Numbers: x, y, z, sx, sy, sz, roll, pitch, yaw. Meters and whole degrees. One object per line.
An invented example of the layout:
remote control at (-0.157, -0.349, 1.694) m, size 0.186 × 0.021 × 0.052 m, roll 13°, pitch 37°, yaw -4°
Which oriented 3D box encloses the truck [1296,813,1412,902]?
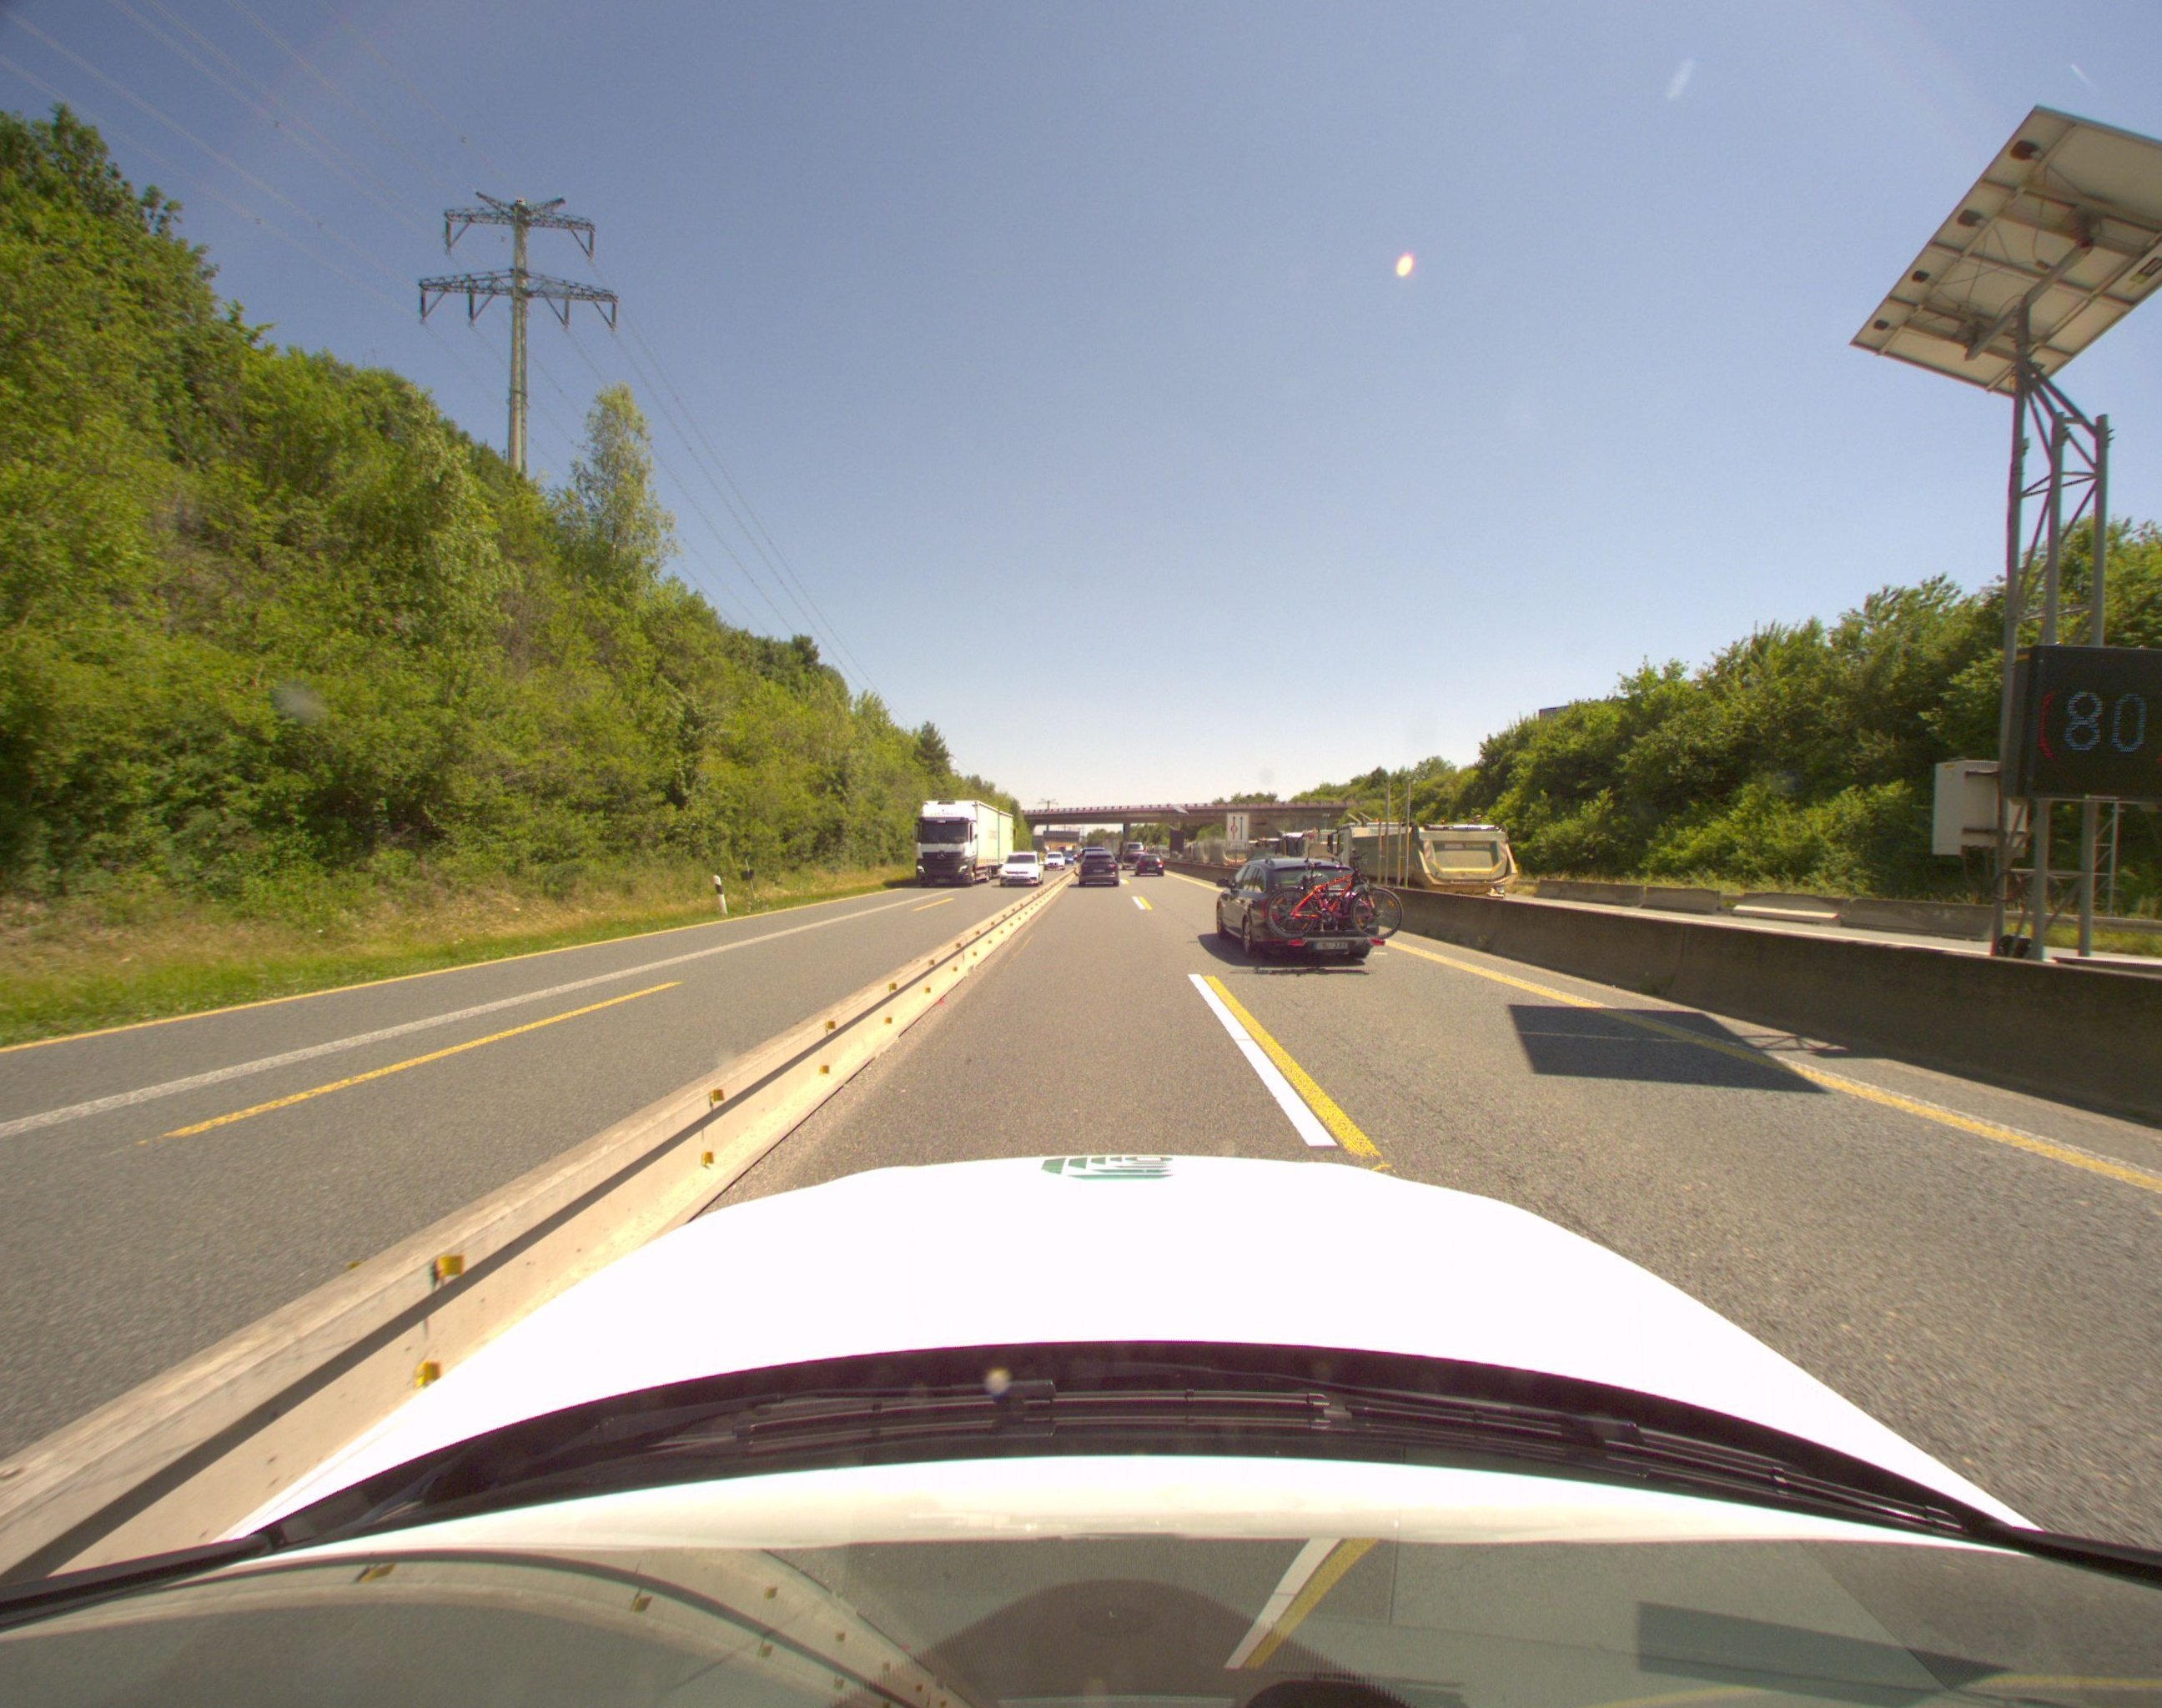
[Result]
truck at (12.011, 0.128, 36.821) m, size 2.523 × 3.511 × 8.948 m, roll 0°, pitch 0°, yaw 2°

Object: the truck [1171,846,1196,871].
truck at (15.776, 0.711, 125.973) m, size 2.678 × 3.726 × 9.324 m, roll 0°, pitch 0°, yaw 0°

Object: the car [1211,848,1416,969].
car at (3.257, 0.680, 12.523) m, size 1.892 × 1.490 × 4.949 m, roll 0°, pitch 0°, yaw 2°

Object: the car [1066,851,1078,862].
car at (-1.608, 0.421, 149.485) m, size 1.884 × 2.013 × 4.819 m, roll 0°, pitch 0°, yaw 1°

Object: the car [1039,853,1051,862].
car at (-6.446, 0.646, 145.738) m, size 1.786 × 1.525 × 4.532 m, roll 0°, pitch 0°, yaw 1°

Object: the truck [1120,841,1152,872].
truck at (4.798, 0.183, 72.246) m, size 2.398 × 2.558 × 7.499 m, roll 0°, pitch 0°, yaw 0°

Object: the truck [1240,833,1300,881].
truck at (14.839, 0.222, 64.713) m, size 2.678 × 3.557 × 9.604 m, roll 0°, pitch 0°, yaw 1°

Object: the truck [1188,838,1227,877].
truck at (12.152, 0.352, 79.124) m, size 2.677 × 3.557 × 9.410 m, roll 0°, pitch 0°, yaw 2°

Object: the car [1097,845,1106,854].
car at (4.563, -0.892, 177.428) m, size 1.892 × 1.968 × 4.278 m, roll 0°, pitch 0°, yaw 2°

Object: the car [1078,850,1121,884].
car at (0.883, 0.595, 38.022) m, size 1.892 × 1.505 × 4.278 m, roll 0°, pitch 0°, yaw 2°

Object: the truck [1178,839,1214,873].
truck at (12.678, 0.162, 90.419) m, size 2.678 × 3.557 × 9.324 m, roll 0°, pitch 0°, yaw 0°

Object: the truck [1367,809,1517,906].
truck at (14.634, 0.112, 33.889) m, size 2.678 × 3.511 × 8.381 m, roll 0°, pitch 0°, yaw 1°

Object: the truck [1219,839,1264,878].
truck at (15.060, 0.393, 76.941) m, size 2.677 × 3.377 × 9.607 m, roll 0°, pitch 0°, yaw 2°

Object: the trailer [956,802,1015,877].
trailer at (-5.820, -0.841, 50.807) m, size 2.629 × 4.312 × 8.446 m, roll 1°, pitch 0°, yaw 0°

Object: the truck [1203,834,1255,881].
truck at (11.977, 0.270, 66.673) m, size 2.678 × 3.557 × 9.604 m, roll 0°, pitch 0°, yaw 1°

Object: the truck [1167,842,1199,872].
truck at (12.362, 0.332, 99.471) m, size 2.678 × 3.557 × 9.324 m, roll 0°, pitch 0°, yaw 0°

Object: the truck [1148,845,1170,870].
truck at (12.270, 0.558, 129.511) m, size 2.678 × 3.856 × 9.325 m, roll 0°, pitch 0°, yaw 0°

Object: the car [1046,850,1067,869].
car at (-2.190, 0.481, 73.135) m, size 1.757 × 1.632 × 4.297 m, roll 0°, pitch 0°, yaw 1°

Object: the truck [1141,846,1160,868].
truck at (12.094, 0.510, 142.190) m, size 2.678 × 3.843 × 9.325 m, roll 0°, pitch 0°, yaw 0°

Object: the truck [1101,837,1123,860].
truck at (5.381, -0.970, 142.615) m, size 3.283 × 3.845 × 10.105 m, roll 0°, pitch 0°, yaw -1°

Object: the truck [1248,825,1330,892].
truck at (12.093, 0.216, 48.309) m, size 2.529 × 3.557 × 9.604 m, roll 0°, pitch 0°, yaw 1°

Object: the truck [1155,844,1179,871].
truck at (12.394, 0.520, 118.159) m, size 2.678 × 3.761 × 9.325 m, roll 0°, pitch 0°, yaw 0°

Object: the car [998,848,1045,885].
car at (-2.749, 0.575, 38.335) m, size 1.818 × 1.630 × 4.151 m, roll 0°, pitch 0°, yaw 1°

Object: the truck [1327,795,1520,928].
truck at (10.477, 0.193, 26.204) m, size 2.524 × 3.511 × 9.098 m, roll 0°, pitch 0°, yaw 1°

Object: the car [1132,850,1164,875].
car at (4.327, 0.551, 53.266) m, size 1.892 × 1.585 × 4.278 m, roll 0°, pitch 0°, yaw 2°

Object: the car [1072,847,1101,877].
car at (0.431, 0.559, 55.981) m, size 1.892 × 1.968 × 4.278 m, roll 0°, pitch 0°, yaw 2°

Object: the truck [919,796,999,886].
truck at (-5.936, -0.578, 41.391) m, size 2.402 × 3.992 × 10.351 m, roll 1°, pitch 0°, yaw 0°

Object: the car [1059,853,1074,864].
car at (-1.817, 0.577, 102.648) m, size 1.707 × 1.425 × 4.170 m, roll 0°, pitch 0°, yaw 0°
